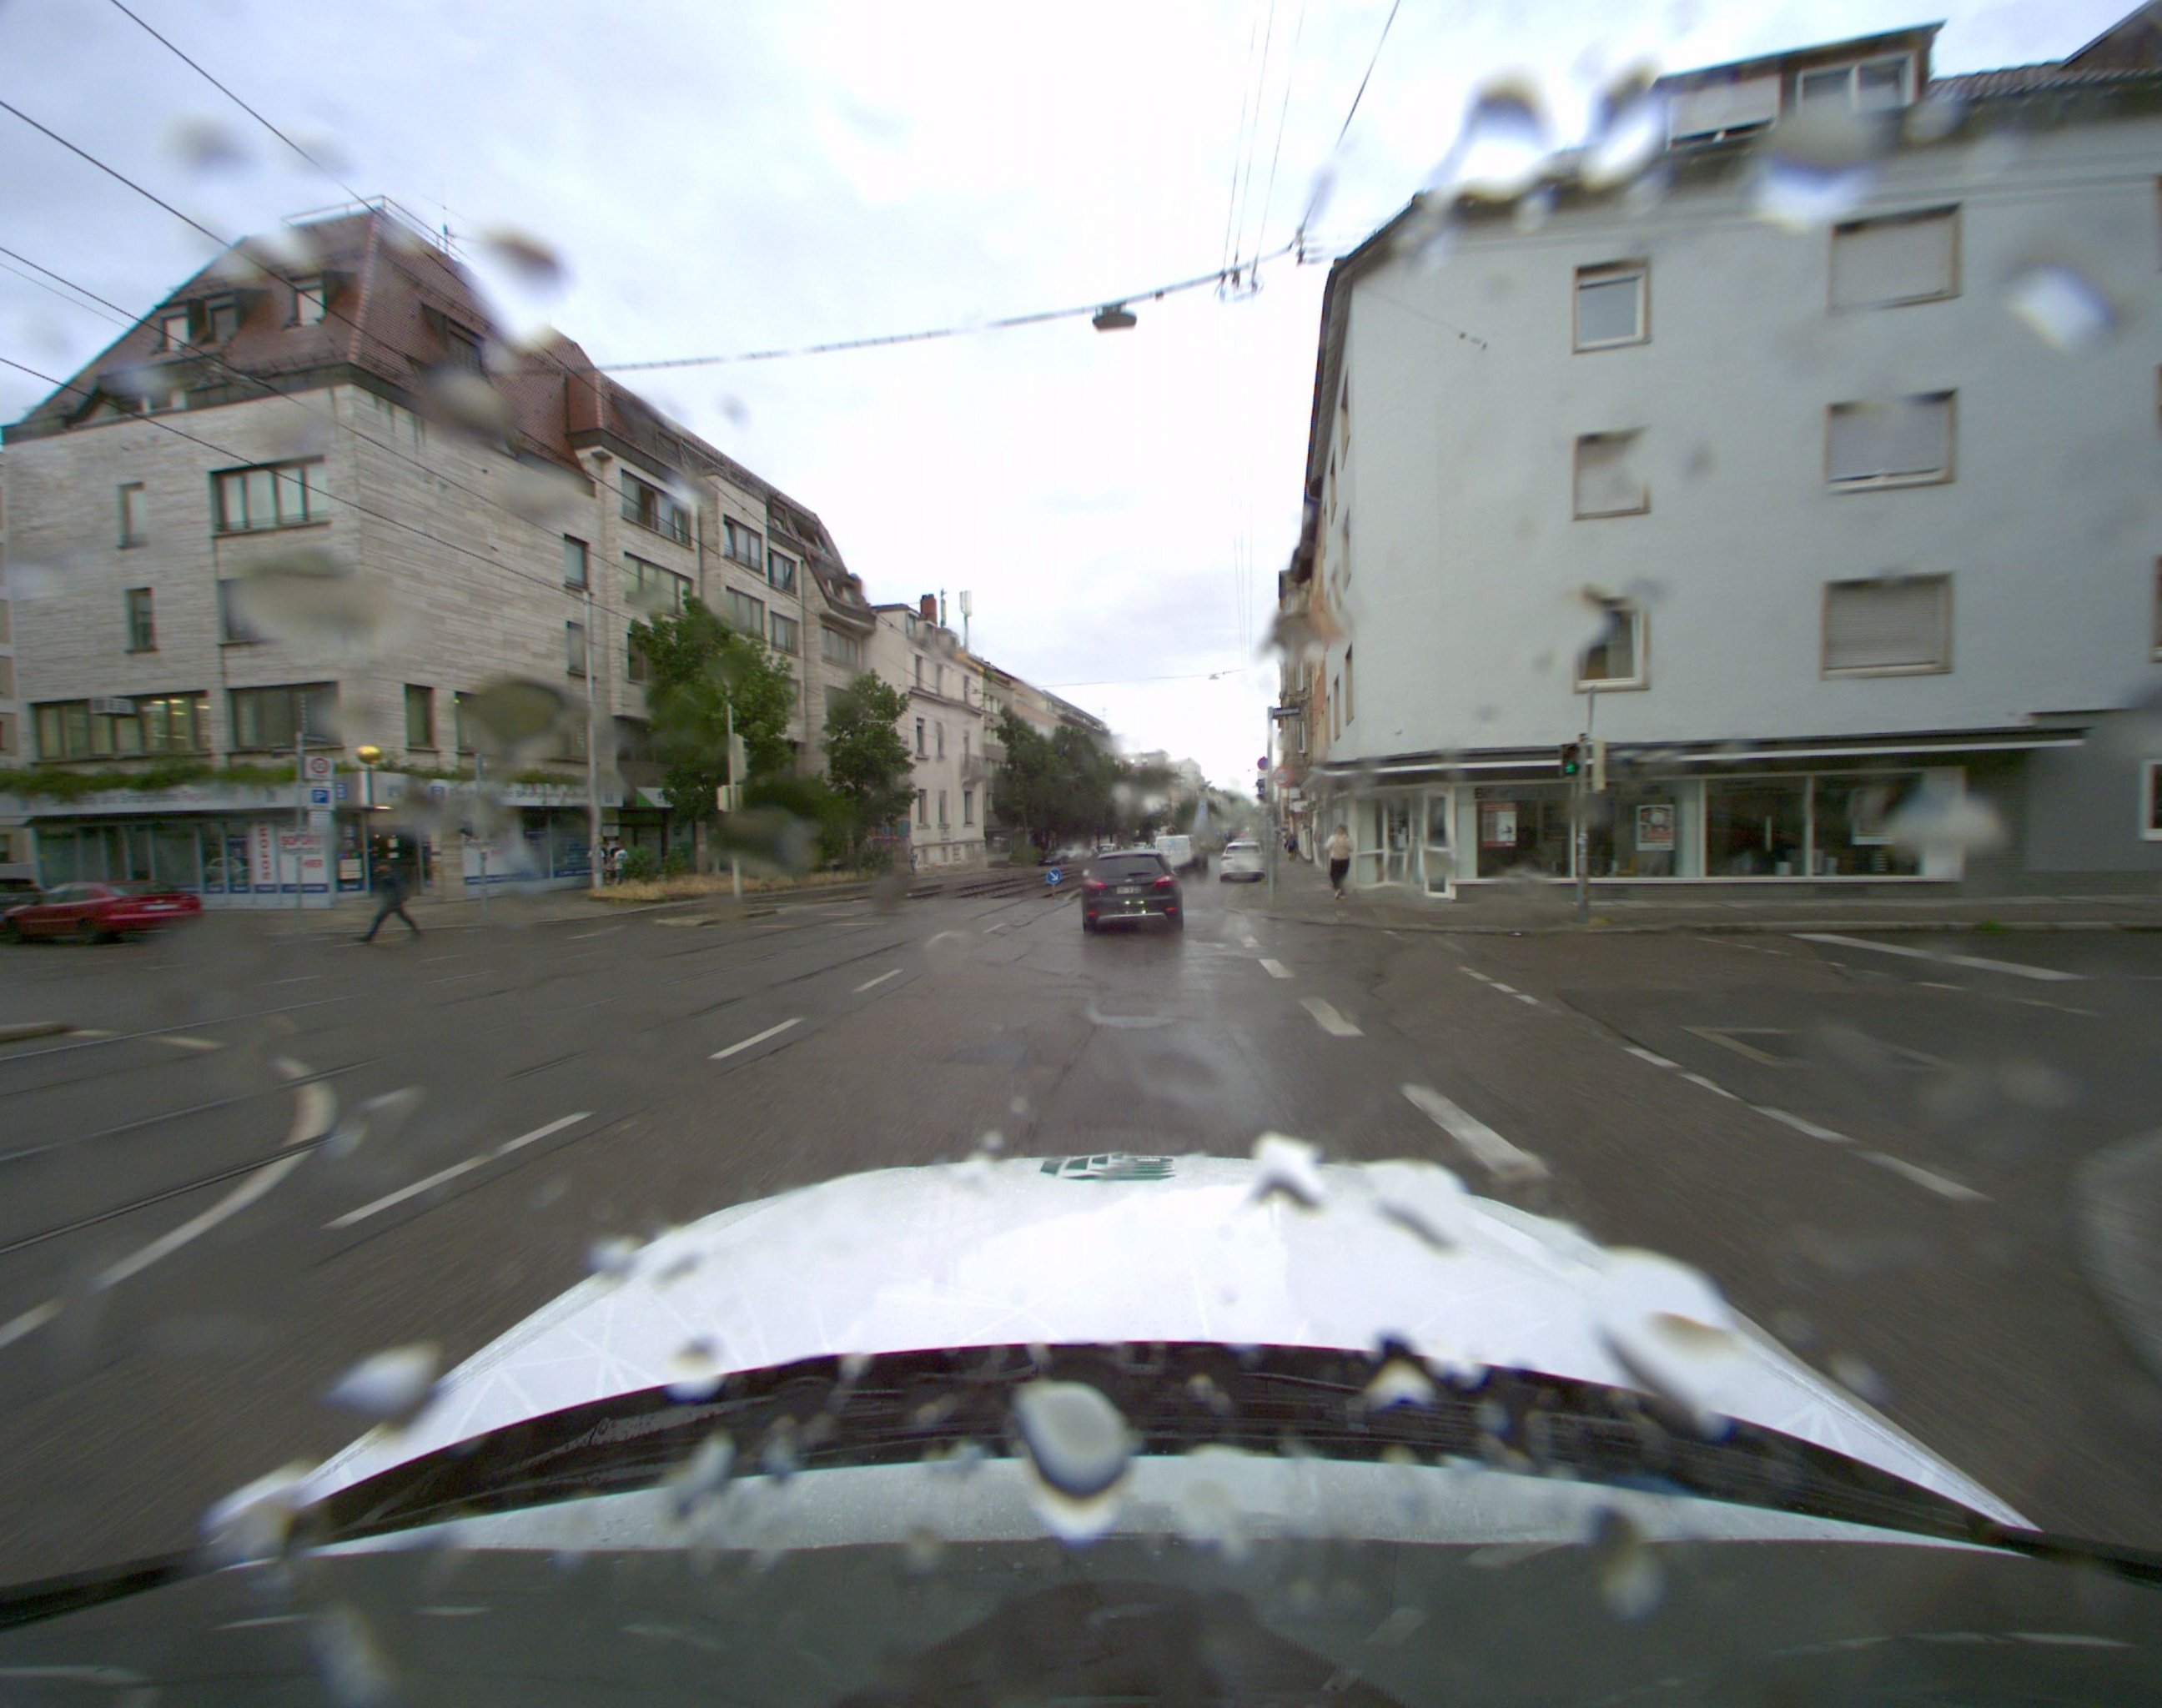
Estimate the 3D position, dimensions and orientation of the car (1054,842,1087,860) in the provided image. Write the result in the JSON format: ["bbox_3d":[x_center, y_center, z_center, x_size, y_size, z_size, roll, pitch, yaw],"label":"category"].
[{"bbox_3d":[-0.958,-0.294,74.750,1.842,1.548,4.738,-1,0,14],"label":"car"}]

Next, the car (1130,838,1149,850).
[{"bbox_3d":[8.254,-1.357,113.927,1.842,1.637,4.954,-1,0,14],"label":"car"}]

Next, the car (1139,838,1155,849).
[{"bbox_3d":[9.828,-1.559,120.503,1.683,1.573,4.061,-1,0,14],"label":"car"}]

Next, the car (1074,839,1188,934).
[{"bbox_3d":[0.953,0.555,15.597,1.835,1.507,4.003,-2,0,3],"label":"car"}]

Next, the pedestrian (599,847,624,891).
[{"bbox_3d":[-17.132,0.547,29.733,0.500,1.597,0.587,1,0,11],"label":"pedestrian"}]

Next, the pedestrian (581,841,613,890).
[{"bbox_3d":[-17.184,0.404,28.913,0.643,1.724,0.686,1,0,12],"label":"pedestrian"}]

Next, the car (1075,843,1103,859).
[{"bbox_3d":[0.845,-0.316,81.189,1.842,1.548,4.448,-1,0,14],"label":"car"}]

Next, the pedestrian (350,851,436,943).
[{"bbox_3d":[-14.308,0.871,16.968,0.926,1.830,0.961,1,0,5],"label":"pedestrian"}]

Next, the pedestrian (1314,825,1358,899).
[{"bbox_3d":[5.595,0.176,17.904,0.685,1.572,0.763,-2,-1,2],"label":"pedestrian"}]

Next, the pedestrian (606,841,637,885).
[{"bbox_3d":[-16.390,0.329,29.077,0.643,1.549,0.686,1,0,12],"label":"pedestrian"}]

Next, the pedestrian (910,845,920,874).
[{"bbox_3d":[-9.690,0.304,47.514,0.466,1.652,0.582,1,0,1],"label":"pedestrian"}]

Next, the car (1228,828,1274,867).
[{"bbox_3d":[7.920,-0.292,37.684,1.832,1.632,4.604,-1,0,14],"label":"car"}]

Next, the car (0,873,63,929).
[{"bbox_3d":[-27.464,1.164,20.004,3.668,1.318,1.599,-1,-1,12],"label":"car"}]

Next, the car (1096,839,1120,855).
[{"bbox_3d":[3.103,-0.788,92.122,1.842,1.701,4.448,-1,0,14],"label":"car"}]

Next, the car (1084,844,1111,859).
[{"bbox_3d":[1.756,-0.267,86.247,1.842,1.418,4.448,-4,-1,14],"label":"car"}]

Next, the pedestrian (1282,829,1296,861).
[{"bbox_3d":[12.459,-0.532,48.804,0.698,1.819,0.965,-4,1,13],"label":"pedestrian"}]

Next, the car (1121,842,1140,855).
[{"bbox_3d":[6.425,-0.662,104.803,1.656,1.558,4.061,-1,0,14],"label":"car"}]

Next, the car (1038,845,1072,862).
[{"bbox_3d":[-2.155,-0.040,68.999,1.681,1.377,4.738,-1,-1,14],"label":"car"}]

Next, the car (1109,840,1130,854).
[{"bbox_3d":[4.649,-0.822,97.794,1.842,1.527,4.061,-1,0,14],"label":"car"}]

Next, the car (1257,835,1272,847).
[{"bbox_3d":[21.617,-1.530,95.705,1.659,1.421,3.489,-2,1,13],"label":"car"}]

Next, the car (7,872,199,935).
[{"bbox_3d":[-22.770,1.131,18.982,3.664,1.318,1.601,-1,-1,18],"label":"car"}]

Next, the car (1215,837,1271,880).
[{"bbox_3d":[6.206,0.154,30.923,1.789,1.455,4.604,-3,0,14],"label":"car"}]

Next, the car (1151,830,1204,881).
[{"bbox_3d":[4.412,0.000,36.659,1.976,2.060,4.660,-2,1,11],"label":"car"}]
